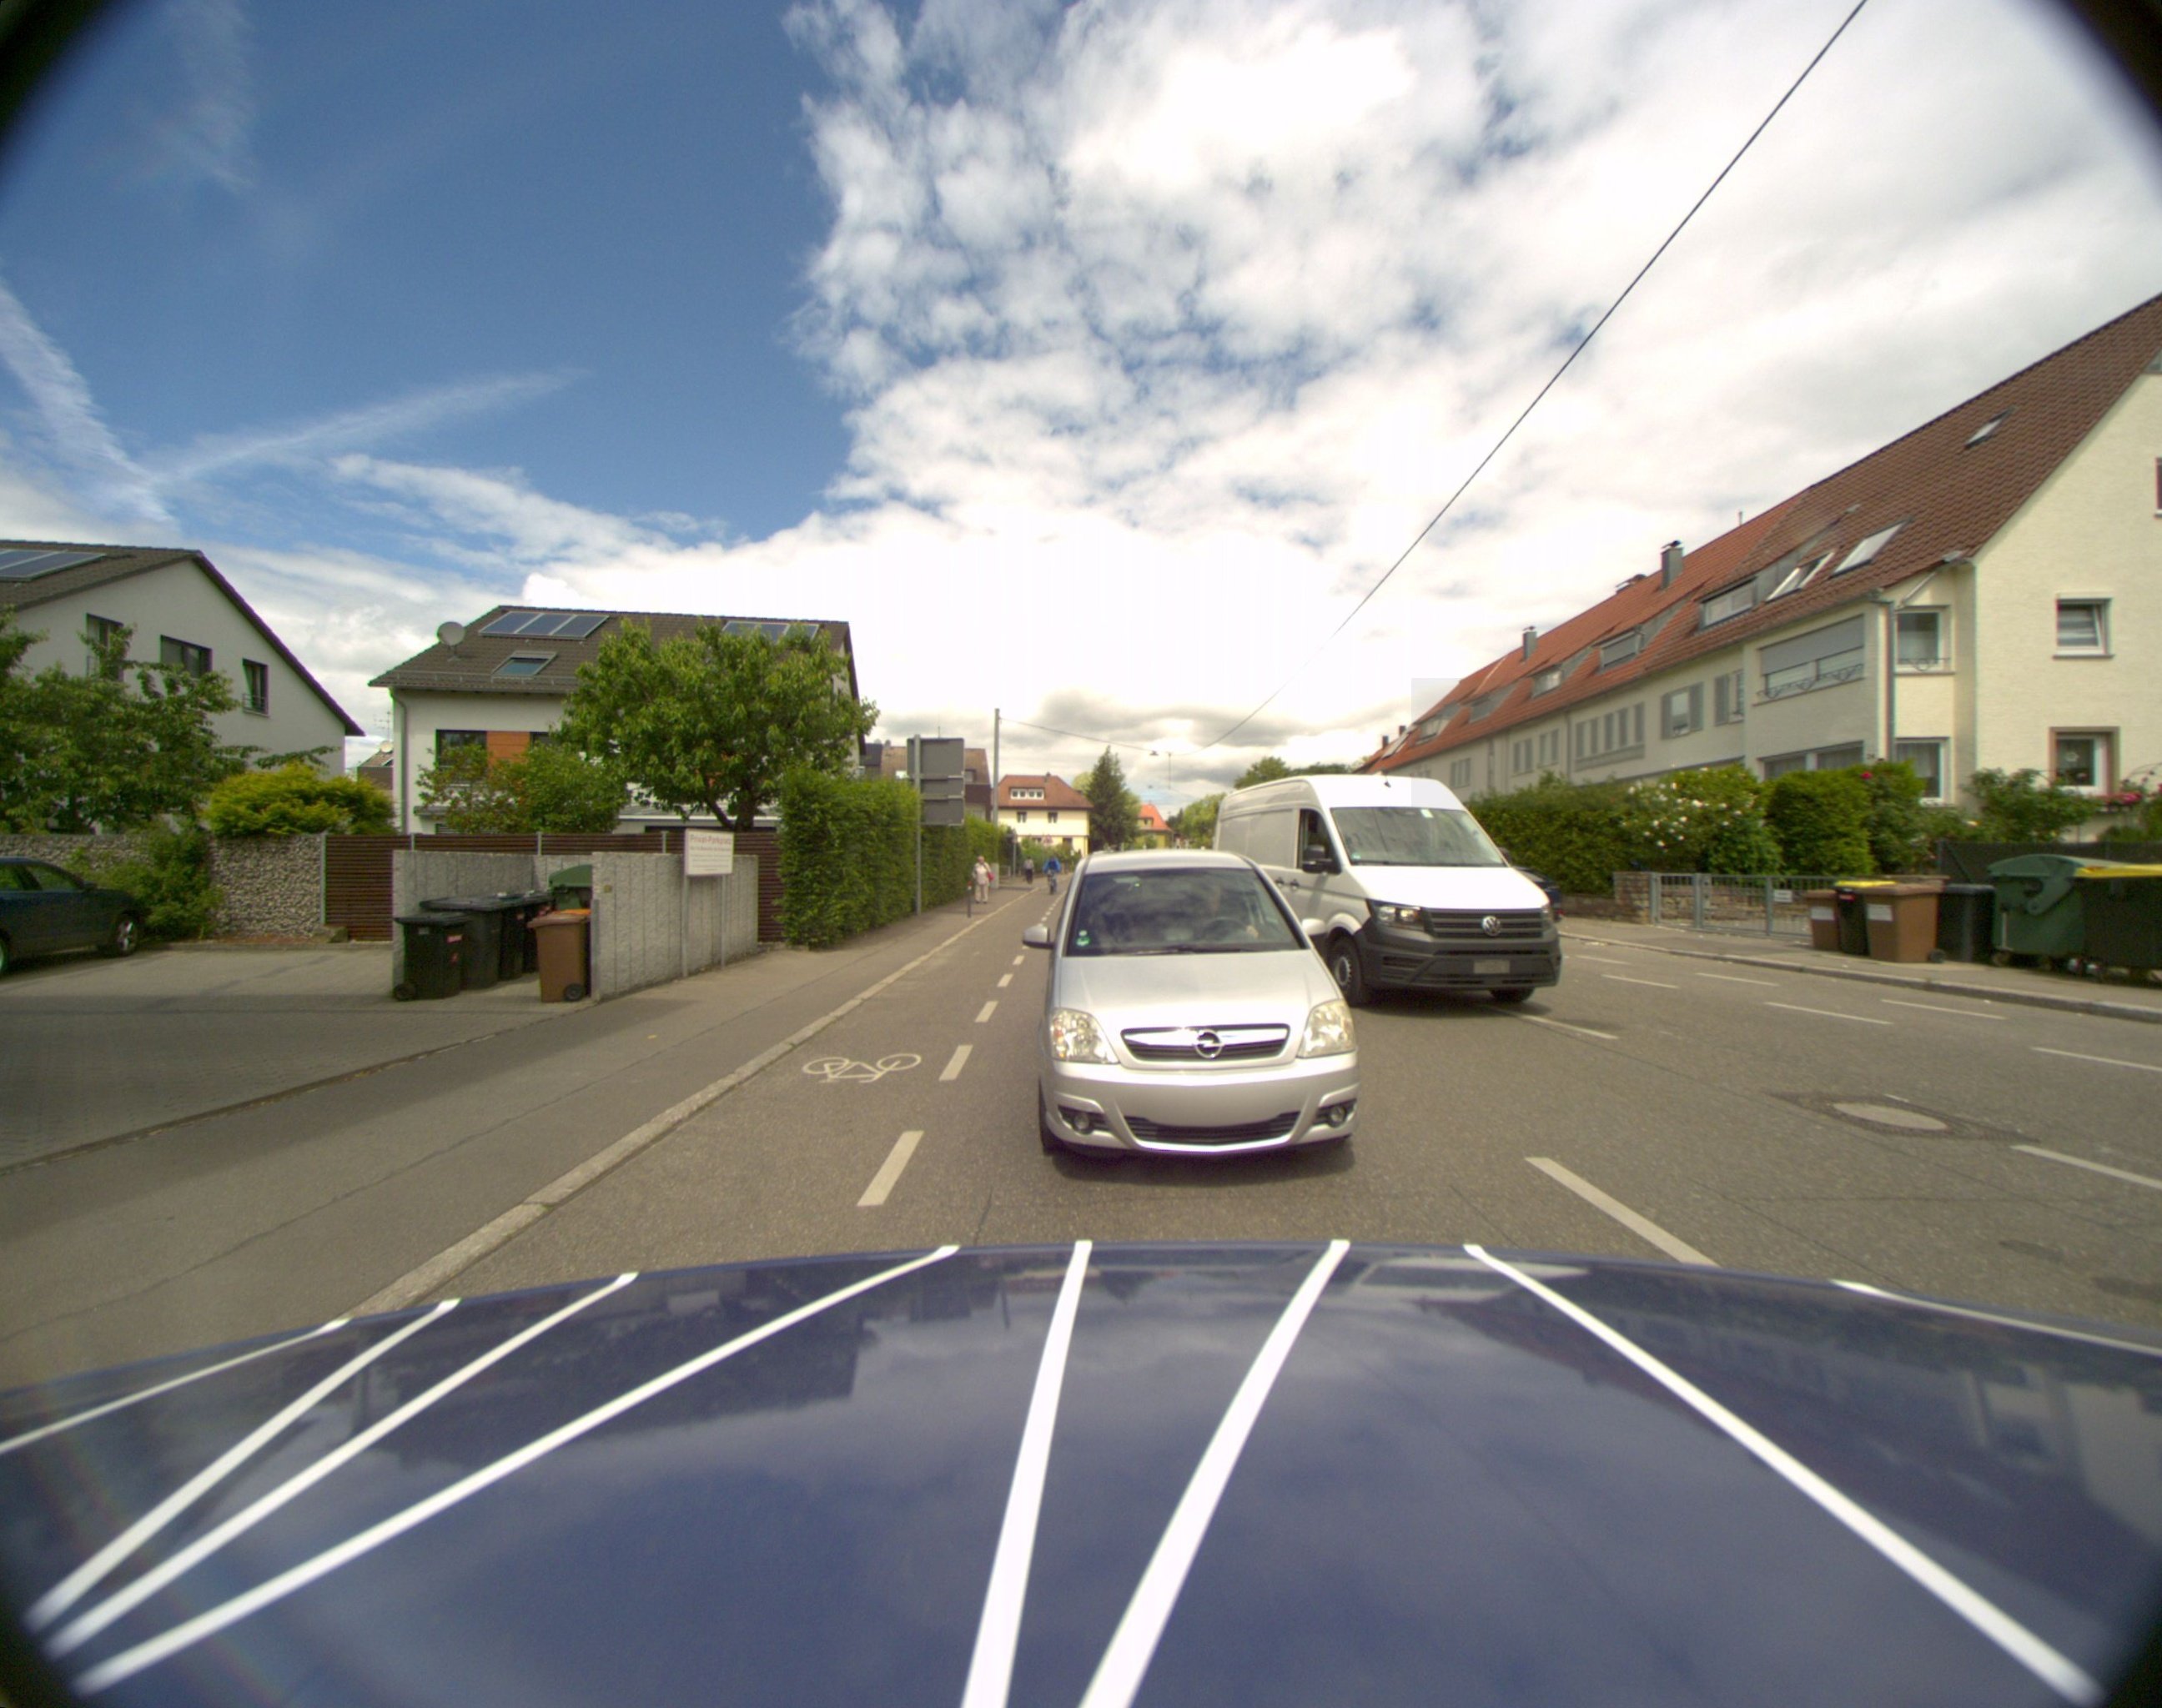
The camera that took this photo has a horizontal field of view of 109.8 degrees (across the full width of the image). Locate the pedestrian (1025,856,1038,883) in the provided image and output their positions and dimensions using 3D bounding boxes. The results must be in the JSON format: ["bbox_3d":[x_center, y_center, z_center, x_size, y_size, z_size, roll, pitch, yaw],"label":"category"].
[{"bbox_3d":[-2.962,0.923,45.461,0.604,1.596,0.836,2,1,2],"label":"pedestrian"}]

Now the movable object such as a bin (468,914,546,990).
[{"bbox_3d":[-7.416,1.250,9.837,0.635,0.887,0.539,-1,1,-16],"label":"movable object such as a bin"}]

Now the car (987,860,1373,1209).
[{"bbox_3d":[0.602,0.853,5.626,1.707,1.531,4.332,-2,0,4],"label":"car"}]

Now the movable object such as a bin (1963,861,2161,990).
[{"bbox_3d":[12.201,0.838,9.435,1.068,1.473,1.214,0,0,-1],"label":"movable object such as a bin"}]

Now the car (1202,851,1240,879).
[{"bbox_3d":[9.911,0.740,54.142,1.998,1.884,5.405,2,0,4],"label":"car"}]

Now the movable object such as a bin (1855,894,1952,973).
[{"bbox_3d":[11.150,1.059,10.315,0.597,1.001,0.658,0,0,1],"label":"movable object such as a bin"}]

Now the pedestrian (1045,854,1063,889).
[{"bbox_3d":[-1.196,0.772,33.429,0.736,1.508,0.872,-1,1,1],"label":"pedestrian"}]

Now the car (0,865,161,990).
[{"bbox_3d":[-14.680,0.934,10.002,1.790,1.527,3.789,0,0,-25],"label":"car"}]

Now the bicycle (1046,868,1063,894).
[{"bbox_3d":[-1.160,1.186,33.556,0.536,1.039,2.409,-1,0,2],"label":"bicycle"}]

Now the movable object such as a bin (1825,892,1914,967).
[{"bbox_3d":[11.373,1.082,10.982,0.597,1.018,0.658,0,0,1],"label":"movable object such as a bin"}]

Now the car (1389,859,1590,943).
[{"bbox_3d":[8.738,0.915,16.819,1.999,1.578,4.488,0,0,-1],"label":"car"}]

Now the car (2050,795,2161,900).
[{"bbox_3d":[19.397,-0.148,12.743,3.997,1.696,1.803,-1,0,0],"label":"car"}]

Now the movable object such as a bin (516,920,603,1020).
[{"bbox_3d":[-5.604,1.226,8.196,0.534,0.945,0.686,-1,0,-13],"label":"movable object such as a bin"}]

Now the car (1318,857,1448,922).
[{"bbox_3d":[8.487,0.921,21.855,1.998,1.641,4.517,0,0,1],"label":"car"}]

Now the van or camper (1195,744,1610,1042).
[{"bbox_3d":[3.313,0.384,9.635,2.031,2.564,5.919,-1,-1,-8],"label":"van or camper"}]

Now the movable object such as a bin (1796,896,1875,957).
[{"bbox_3d":[11.533,1.104,11.635,0.597,0.874,0.614,0,0,1],"label":"movable object such as a bin"}]

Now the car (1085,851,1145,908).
[{"bbox_3d":[1.086,0.796,26.049,1.780,1.760,4.189,0,0,-1],"label":"car"}]

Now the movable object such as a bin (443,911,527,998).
[{"bbox_3d":[-7.279,1.213,9.303,0.629,0.962,0.539,-1,1,-16],"label":"movable object such as a bin"}]

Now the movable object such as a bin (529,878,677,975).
[{"bbox_3d":[-6.918,1.008,11.125,1.192,1.255,1.535,-1,0,-2],"label":"movable object such as a bin"}]

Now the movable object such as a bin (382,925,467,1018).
[{"bbox_3d":[-7.072,1.249,8.205,0.494,0.907,0.539,-1,1,-16],"label":"movable object such as a bin"}]

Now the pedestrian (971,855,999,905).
[{"bbox_3d":[-3.217,0.859,25.379,0.800,1.608,0.653,1,1,2],"label":"pedestrian"}]

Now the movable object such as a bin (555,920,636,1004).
[{"bbox_3d":[-5.709,1.254,8.956,0.533,0.887,0.679,-1,0,-5],"label":"movable object such as a bin"}]

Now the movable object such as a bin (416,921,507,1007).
[{"bbox_3d":[-7.128,1.248,8.771,0.635,0.887,0.539,-1,1,-16],"label":"movable object such as a bin"}]

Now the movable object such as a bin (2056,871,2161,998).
[{"bbox_3d":[11.830,0.846,8.193,1.067,1.305,1.214,0,0,2],"label":"movable object such as a bin"}]
